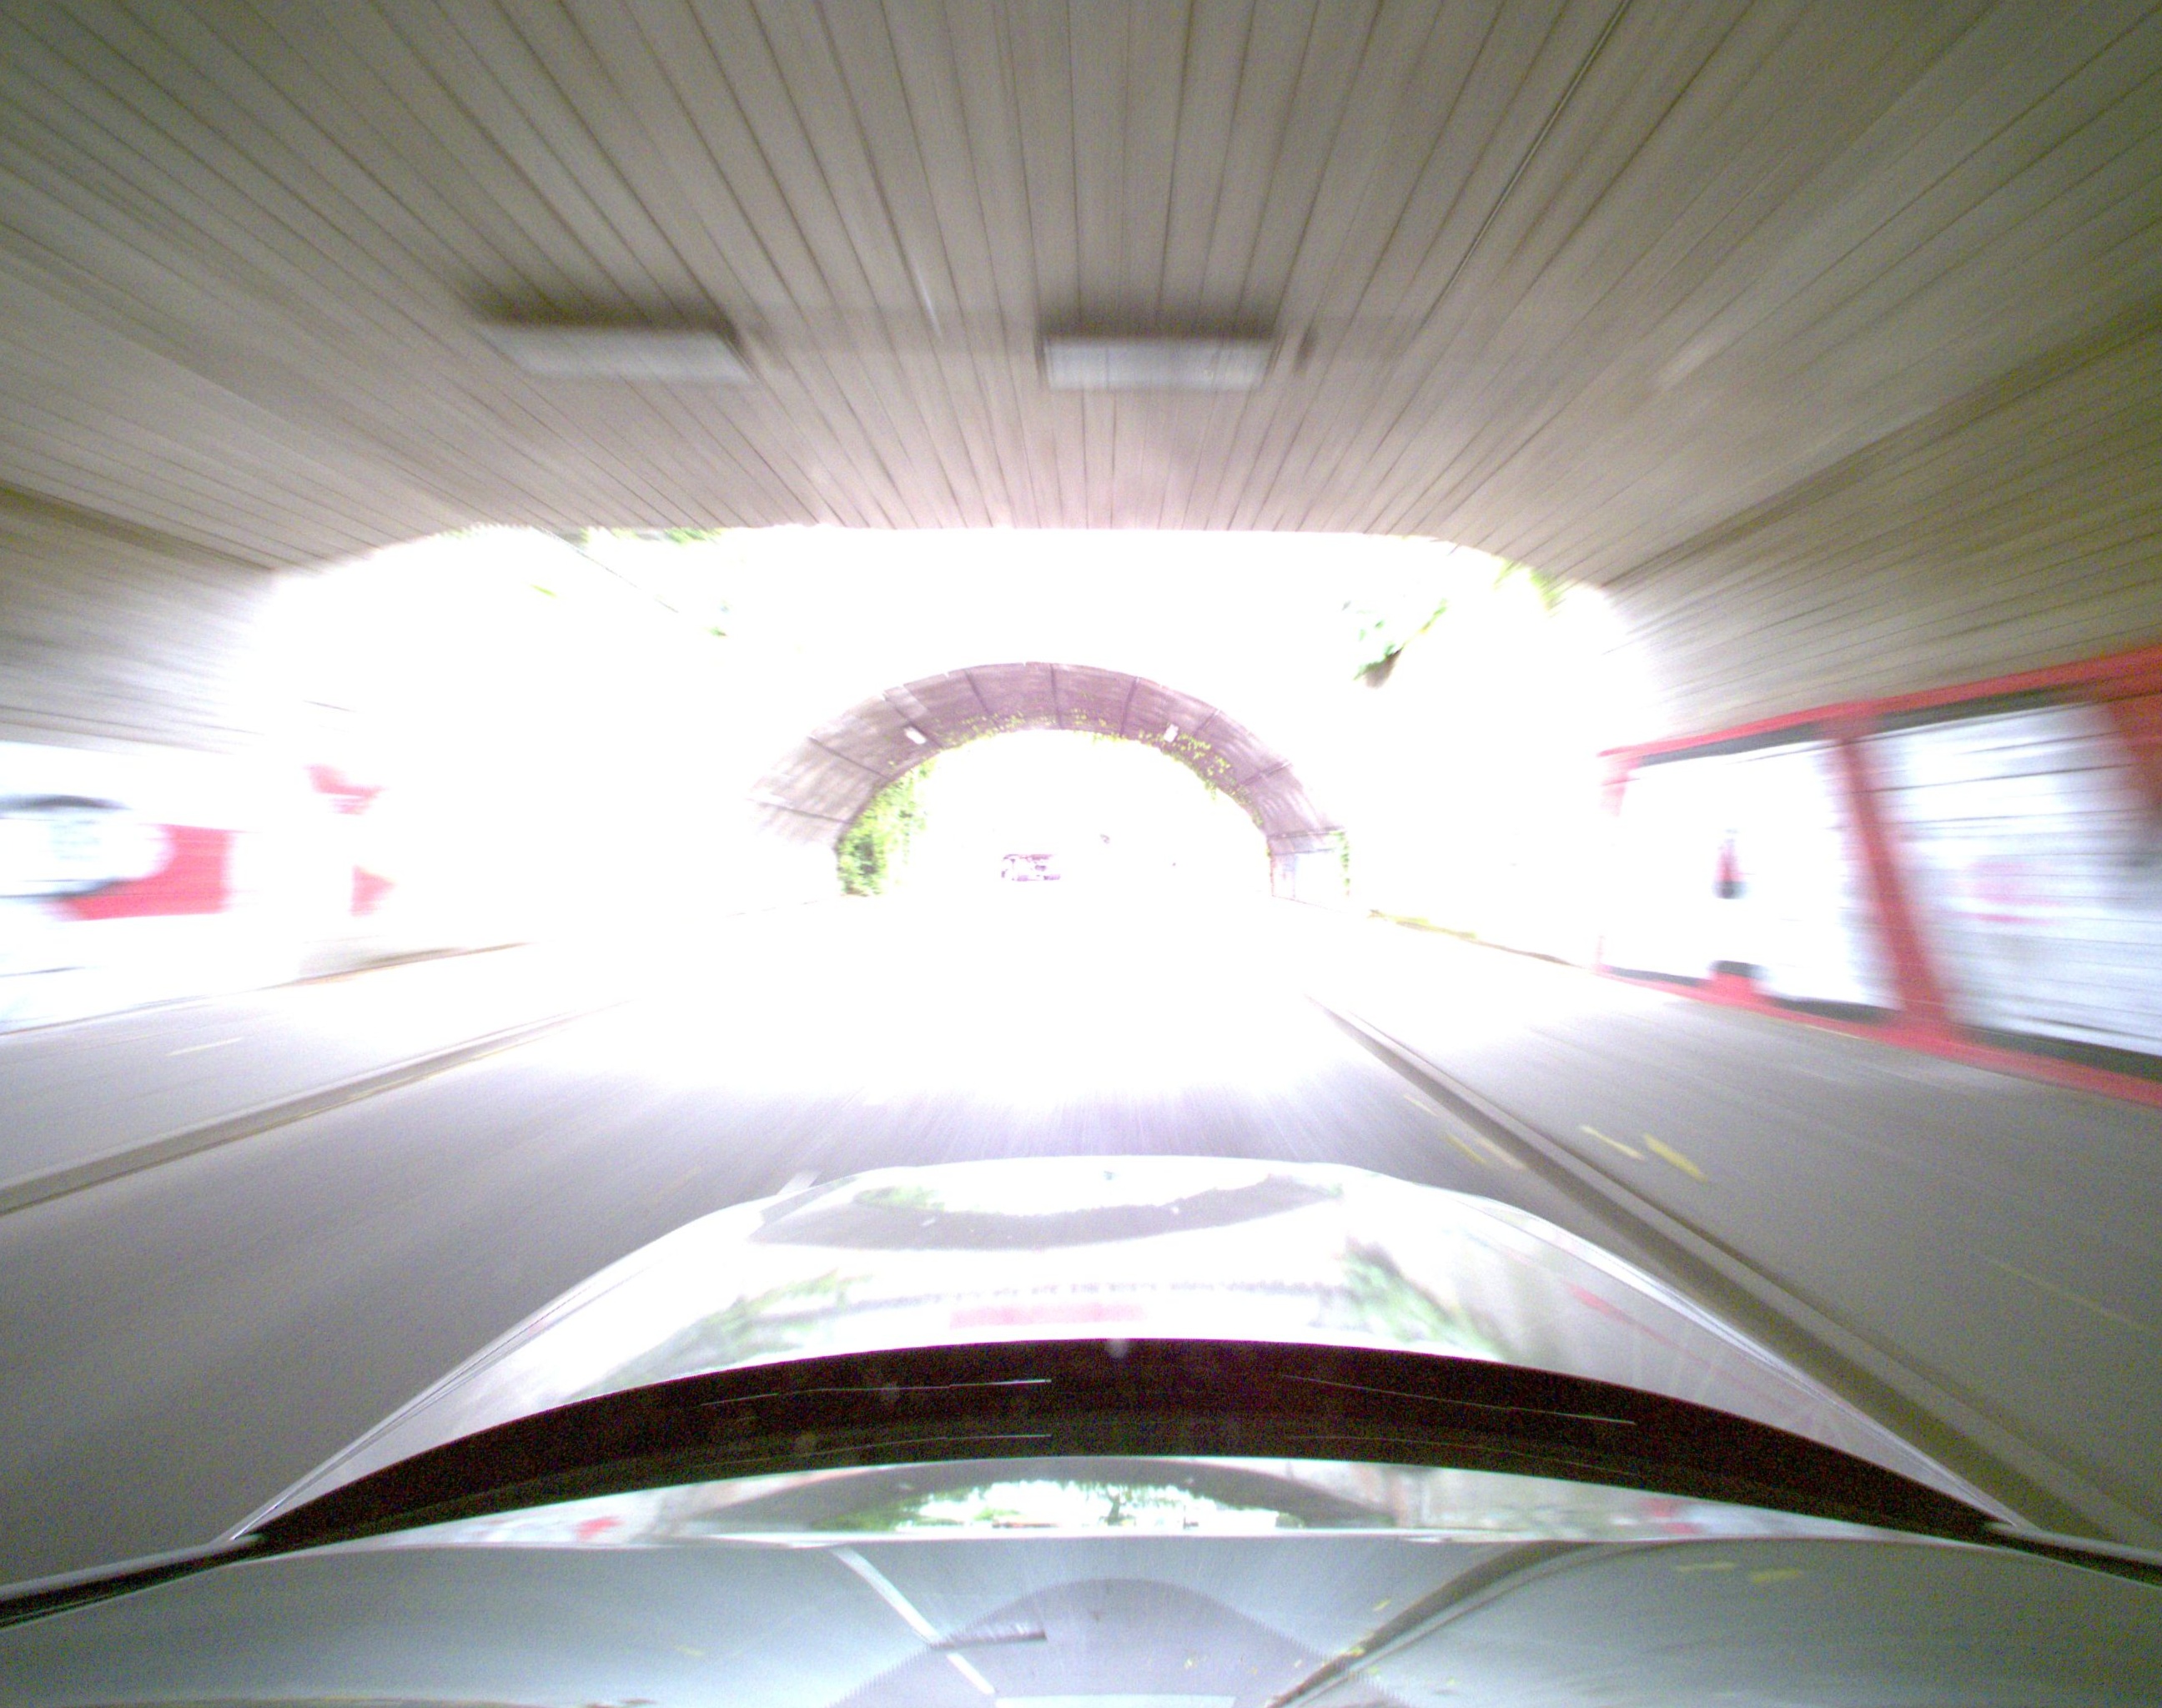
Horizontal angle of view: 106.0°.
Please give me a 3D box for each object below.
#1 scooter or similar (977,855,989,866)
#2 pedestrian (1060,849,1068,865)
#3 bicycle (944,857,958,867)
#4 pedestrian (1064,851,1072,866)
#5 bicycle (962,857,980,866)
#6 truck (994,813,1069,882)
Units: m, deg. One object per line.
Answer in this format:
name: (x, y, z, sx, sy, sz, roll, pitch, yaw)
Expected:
scooter or similar: (-11.179, 0.784, 92.807, 1.196, 1.206, 0.463, 4, -3, -35)
pedestrian: (-1.786, 0.337, 85.017, 0.811, 1.703, 0.749, 0, -2, 1)
bicycle: (-14.993, 0.920, 93.806, 1.492, 0.990, 0.689, 4, -2, -21)
pedestrian: (-1.343, 0.447, 86.585, 0.796, 1.583, 0.802, 0, -2, 1)
bicycle: (-12.662, 0.888, 93.553, 1.981, 0.865, 0.505, 6, -3, -38)
truck: (-2.918, -0.468, 45.490, 2.769, 3.483, 8.091, -1, 2, -14)
